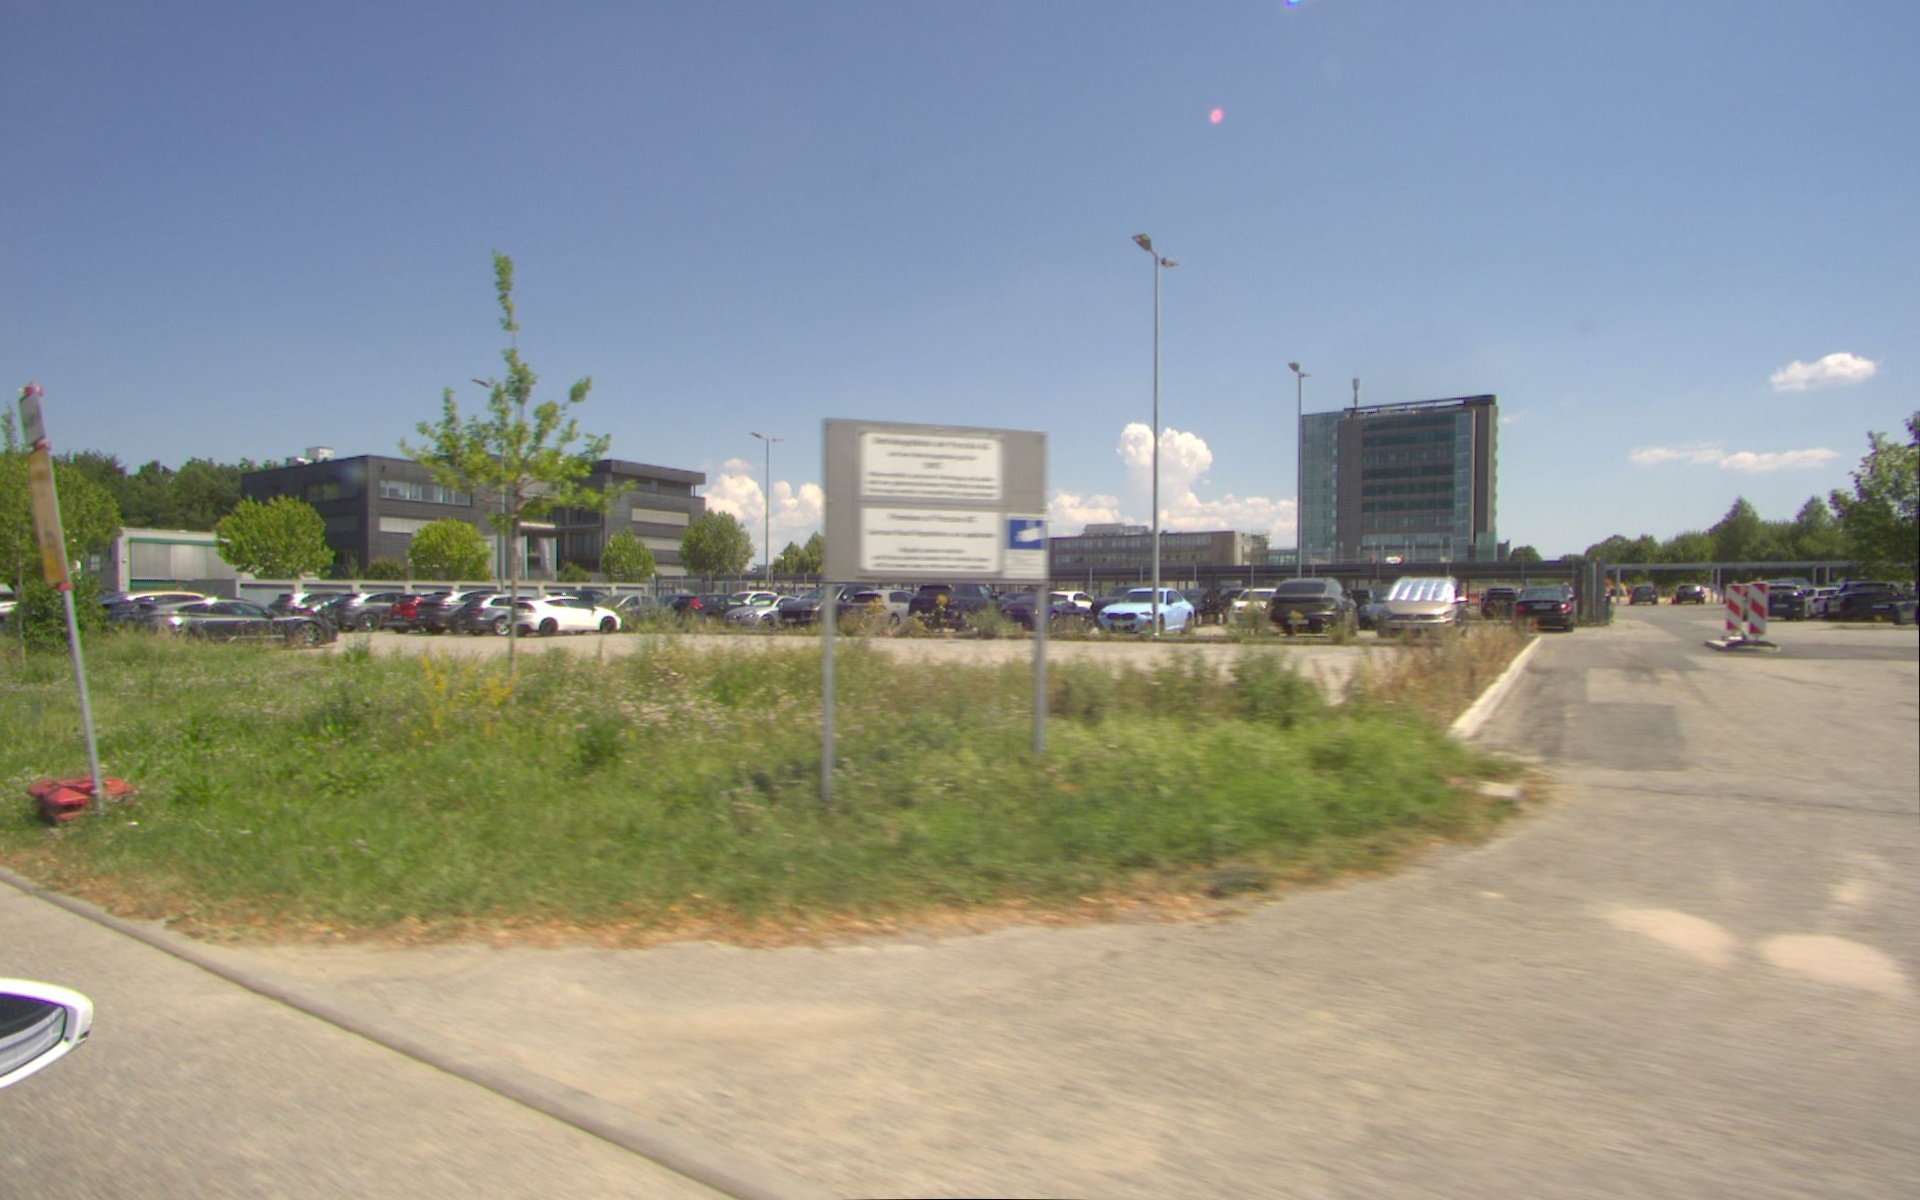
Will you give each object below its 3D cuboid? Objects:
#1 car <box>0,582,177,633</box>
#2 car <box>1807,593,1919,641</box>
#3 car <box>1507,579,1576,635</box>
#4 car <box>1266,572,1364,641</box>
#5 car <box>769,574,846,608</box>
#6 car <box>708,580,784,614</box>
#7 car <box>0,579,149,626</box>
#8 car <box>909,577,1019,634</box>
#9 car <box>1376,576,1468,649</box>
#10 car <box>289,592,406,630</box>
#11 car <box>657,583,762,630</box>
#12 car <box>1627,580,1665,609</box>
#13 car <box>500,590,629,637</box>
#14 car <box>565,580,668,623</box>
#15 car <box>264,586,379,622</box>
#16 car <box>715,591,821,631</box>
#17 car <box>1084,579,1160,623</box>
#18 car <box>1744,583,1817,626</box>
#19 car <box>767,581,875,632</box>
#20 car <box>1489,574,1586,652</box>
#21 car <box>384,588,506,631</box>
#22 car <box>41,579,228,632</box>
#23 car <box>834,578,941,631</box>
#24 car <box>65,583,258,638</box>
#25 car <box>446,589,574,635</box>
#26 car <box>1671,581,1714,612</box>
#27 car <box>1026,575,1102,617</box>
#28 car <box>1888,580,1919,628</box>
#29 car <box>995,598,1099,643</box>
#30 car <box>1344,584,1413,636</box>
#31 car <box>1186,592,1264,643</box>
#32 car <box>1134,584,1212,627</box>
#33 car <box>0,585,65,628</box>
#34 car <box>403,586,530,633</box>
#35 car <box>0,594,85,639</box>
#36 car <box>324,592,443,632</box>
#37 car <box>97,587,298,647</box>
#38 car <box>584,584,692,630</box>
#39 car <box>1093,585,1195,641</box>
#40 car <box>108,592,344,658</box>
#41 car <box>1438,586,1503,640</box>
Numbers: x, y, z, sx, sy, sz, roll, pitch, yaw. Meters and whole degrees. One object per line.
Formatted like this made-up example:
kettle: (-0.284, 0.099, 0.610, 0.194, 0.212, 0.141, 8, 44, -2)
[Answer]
car: (-28.387, 0.187, 32.632, 1.741, 1.420, 4.156, 4, 3, 29)
car: (36.706, 0.652, 40.813, 1.965, 1.663, 3.989, 3, 3, 20)
car: (19.040, 0.165, 32.909, 1.741, 1.618, 3.981, 4, 3, 29)
car: (9.621, 0.103, 26.937, 1.741, 1.618, 4.360, 4, 3, 29)
car: (-7.709, -0.491, 50.922, 1.741, 1.618, 3.981, 4, 3, 29)
car: (-11.229, -0.199, 52.749, 1.741, 1.618, 3.981, 4, 3, 29)
car: (-30.480, 0.046, 34.063, 1.741, 1.420, 4.156, 4, 3, 29)
car: (0.197, 0.117, 32.487, 1.832, 1.618, 3.981, 4, 3, 29)
car: (11.718, 0.230, 25.258, 1.741, 1.618, 3.981, 4, 3, 29)
car: (-26.300, 0.418, 43.116, 1.741, 1.420, 3.981, 4, 3, 29)
car: (-9.749, 0.193, 39.191, 1.741, 1.618, 3.981, 4, 3, 29)
car: (50.908, -0.447, 74.375, 1.969, 2.042, 3.979, 4, 3, 30)
car: (-13.764, 0.433, 35.035, 1.741, 1.420, 3.980, 4, 3, 30)
car: (-14.425, 0.032, 42.233, 1.741, 1.618, 3.981, 4, 3, 29)
car: (-28.385, 0.131, 44.649, 1.741, 1.420, 3.981, 4, 3, 29)
car: (-7.154, 0.361, 37.627, 1.741, 1.289, 3.981, 4, 3, 29)
car: (6.660, -0.015, 40.847, 1.741, 1.618, 3.981, 4, 3, 29)
car: (35.126, 0.138, 42.953, 1.767, 1.663, 3.978, 4, 3, 31)
car: (-4.860, 0.184, 35.598, 1.741, 1.618, 3.981, 4, 3, 29)
car: (13.669, 0.221, 23.815, 1.741, 1.618, 3.981, 4, 3, 29)
car: (-20.286, 0.319, 39.595, 1.741, 1.482, 3.981, 4, 3, 29)
car: (-25.558, 0.110, 31.170, 1.741, 1.420, 4.156, 4, 3, 29)
car: (-2.407, 0.105, 34.371, 1.741, 1.618, 3.981, 4, 3, 29)
car: (-23.633, 0.250, 29.815, 1.741, 1.420, 4.156, 4, 3, 29)
car: (-16.174, 0.387, 36.165, 1.741, 1.420, 3.981, 4, 3, 29)
car: (53.233, -0.283, 72.818, 1.969, 2.042, 3.979, 4, 3, 30)
car: (4.452, -0.210, 42.356, 1.741, 1.618, 3.981, 4, 3, 29)
car: (31.582, 0.113, 32.111, 1.670, 1.539, 3.983, 0, 1, 28)
car: (2.771, 0.600, 31.219, 1.741, 1.124, 3.981, 4, 3, 29)
car: (14.778, 0.302, 35.252, 1.741, 1.618, 3.981, 4, 3, 29)
car: (10.218, 0.610, 38.428, 1.968, 1.707, 3.982, 4, 3, 28)
car: (8.534, 0.165, 39.896, 1.968, 1.507, 3.982, 4, 3, 28)
car: (-35.147, 0.245, 35.955, 1.741, 1.420, 4.156, 4, 3, 29)
car: (-18.381, 0.308, 37.460, 1.741, 1.511, 3.981, 4, 3, 29)
car: (-33.404, 0.585, 34.804, 1.741, 1.420, 4.156, 4, 3, 29)
car: (-23.898, 0.451, 41.644, 1.741, 1.420, 3.981, 4, 3, 29)
car: (-21.319, 0.417, 28.180, 1.741, 1.420, 4.156, 4, 3, 29)
car: (-12.788, 0.217, 39.925, 1.741, 1.618, 3.981, 4, 3, 29)
car: (5.495, 0.319, 29.564, 1.741, 1.412, 3.981, 4, 3, 29)
car: (-19.242, 0.579, 26.478, 1.894, 1.420, 4.690, 4, 3, 34)
car: (17.301, 0.381, 33.879, 1.741, 1.618, 3.981, 4, 3, 29)
